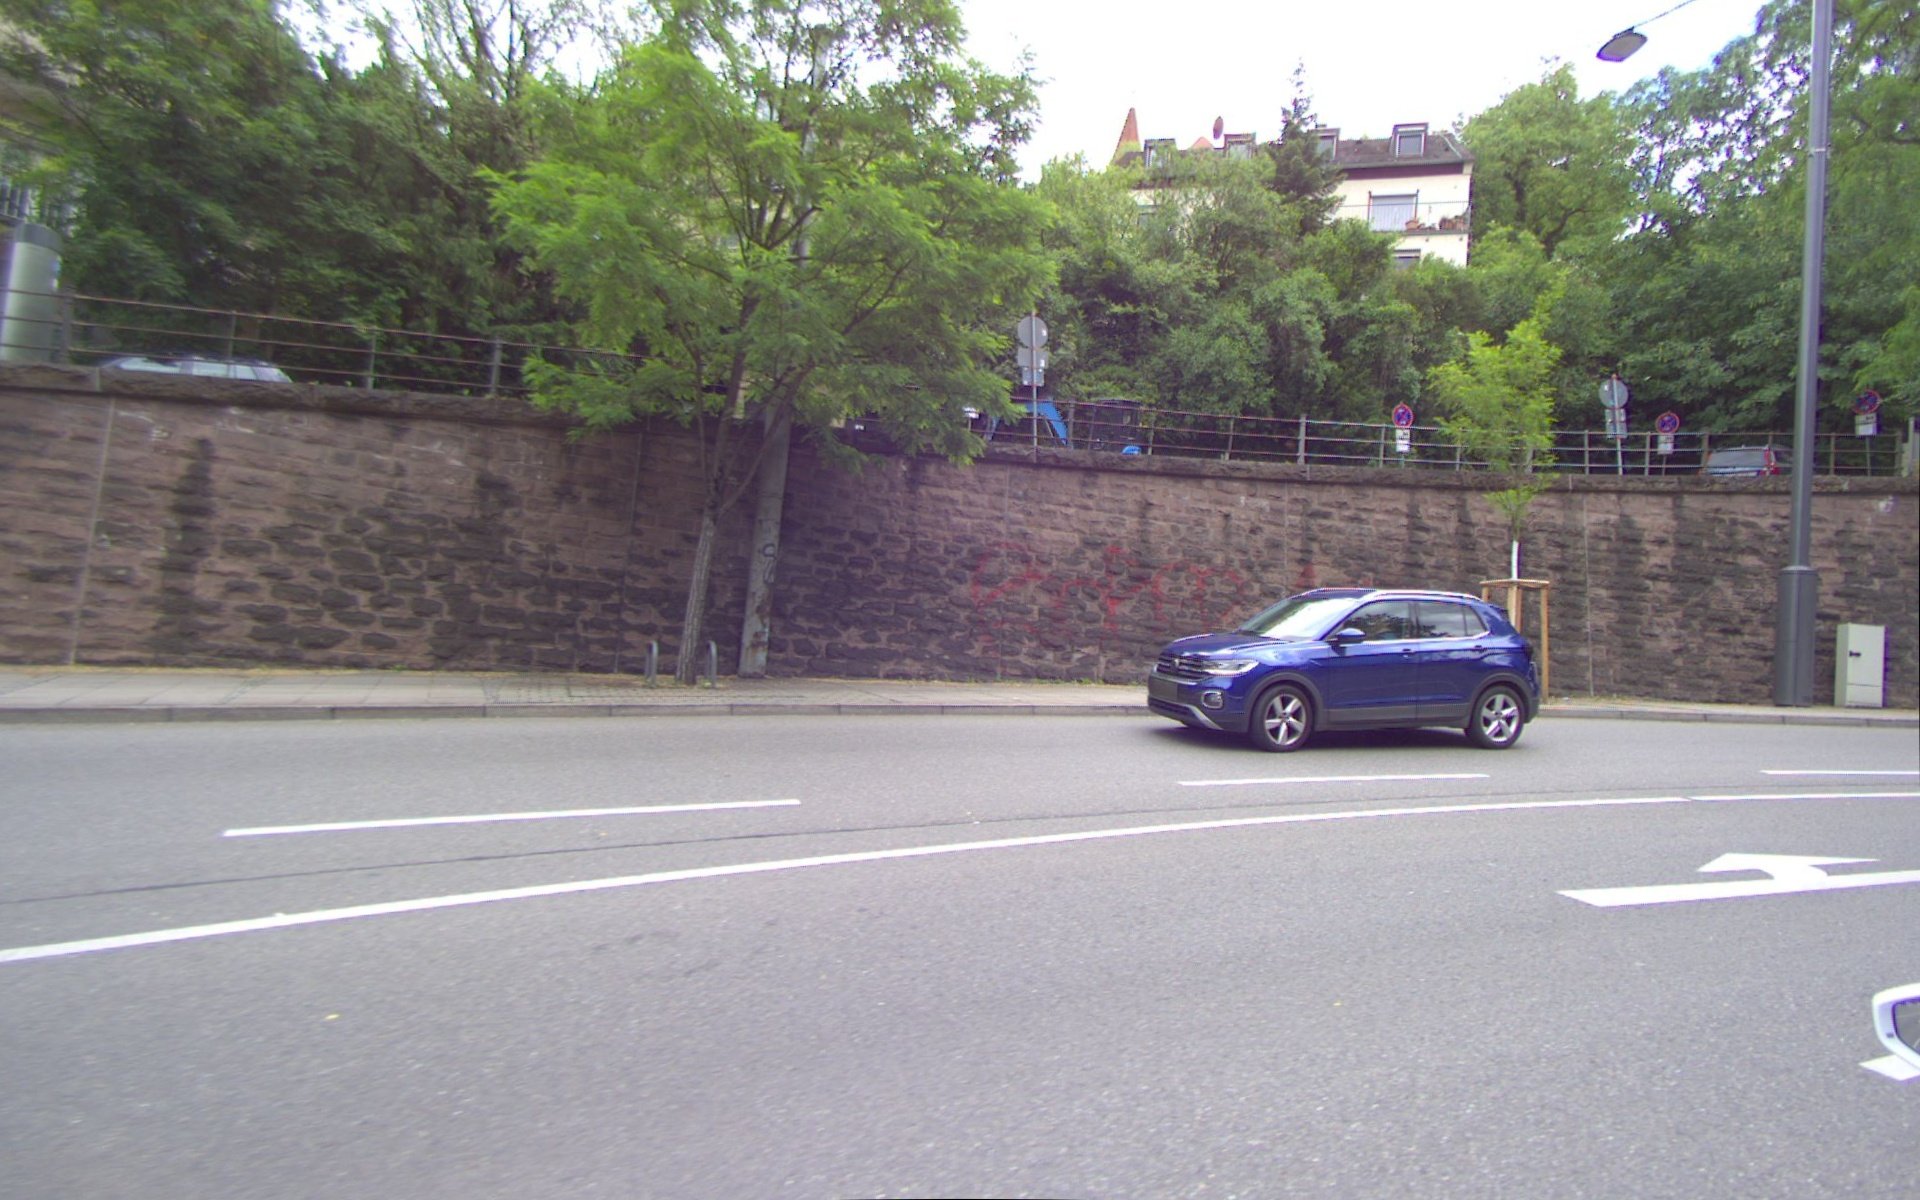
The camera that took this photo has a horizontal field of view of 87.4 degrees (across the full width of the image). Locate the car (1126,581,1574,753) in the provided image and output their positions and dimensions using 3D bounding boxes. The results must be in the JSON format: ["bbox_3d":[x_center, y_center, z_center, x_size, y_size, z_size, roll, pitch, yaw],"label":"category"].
[{"bbox_3d":[4.024,0.670,10.510,4.133,1.548,1.726,2,1,-16],"label":"car"}]

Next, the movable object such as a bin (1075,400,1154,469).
[{"bbox_3d":[3.737,-4.002,24.426,1.576,1.373,1.251,1,-2,-10],"label":"movable object such as a bin"}]

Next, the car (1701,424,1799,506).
[{"bbox_3d":[20.097,-3.346,25.501,1.658,1.397,3.716,3,-1,42],"label":"car"}]

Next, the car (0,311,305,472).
[{"bbox_3d":[-13.033,-3.253,16.191,4.026,1.661,1.757,5,-1,-35],"label":"car"}]
